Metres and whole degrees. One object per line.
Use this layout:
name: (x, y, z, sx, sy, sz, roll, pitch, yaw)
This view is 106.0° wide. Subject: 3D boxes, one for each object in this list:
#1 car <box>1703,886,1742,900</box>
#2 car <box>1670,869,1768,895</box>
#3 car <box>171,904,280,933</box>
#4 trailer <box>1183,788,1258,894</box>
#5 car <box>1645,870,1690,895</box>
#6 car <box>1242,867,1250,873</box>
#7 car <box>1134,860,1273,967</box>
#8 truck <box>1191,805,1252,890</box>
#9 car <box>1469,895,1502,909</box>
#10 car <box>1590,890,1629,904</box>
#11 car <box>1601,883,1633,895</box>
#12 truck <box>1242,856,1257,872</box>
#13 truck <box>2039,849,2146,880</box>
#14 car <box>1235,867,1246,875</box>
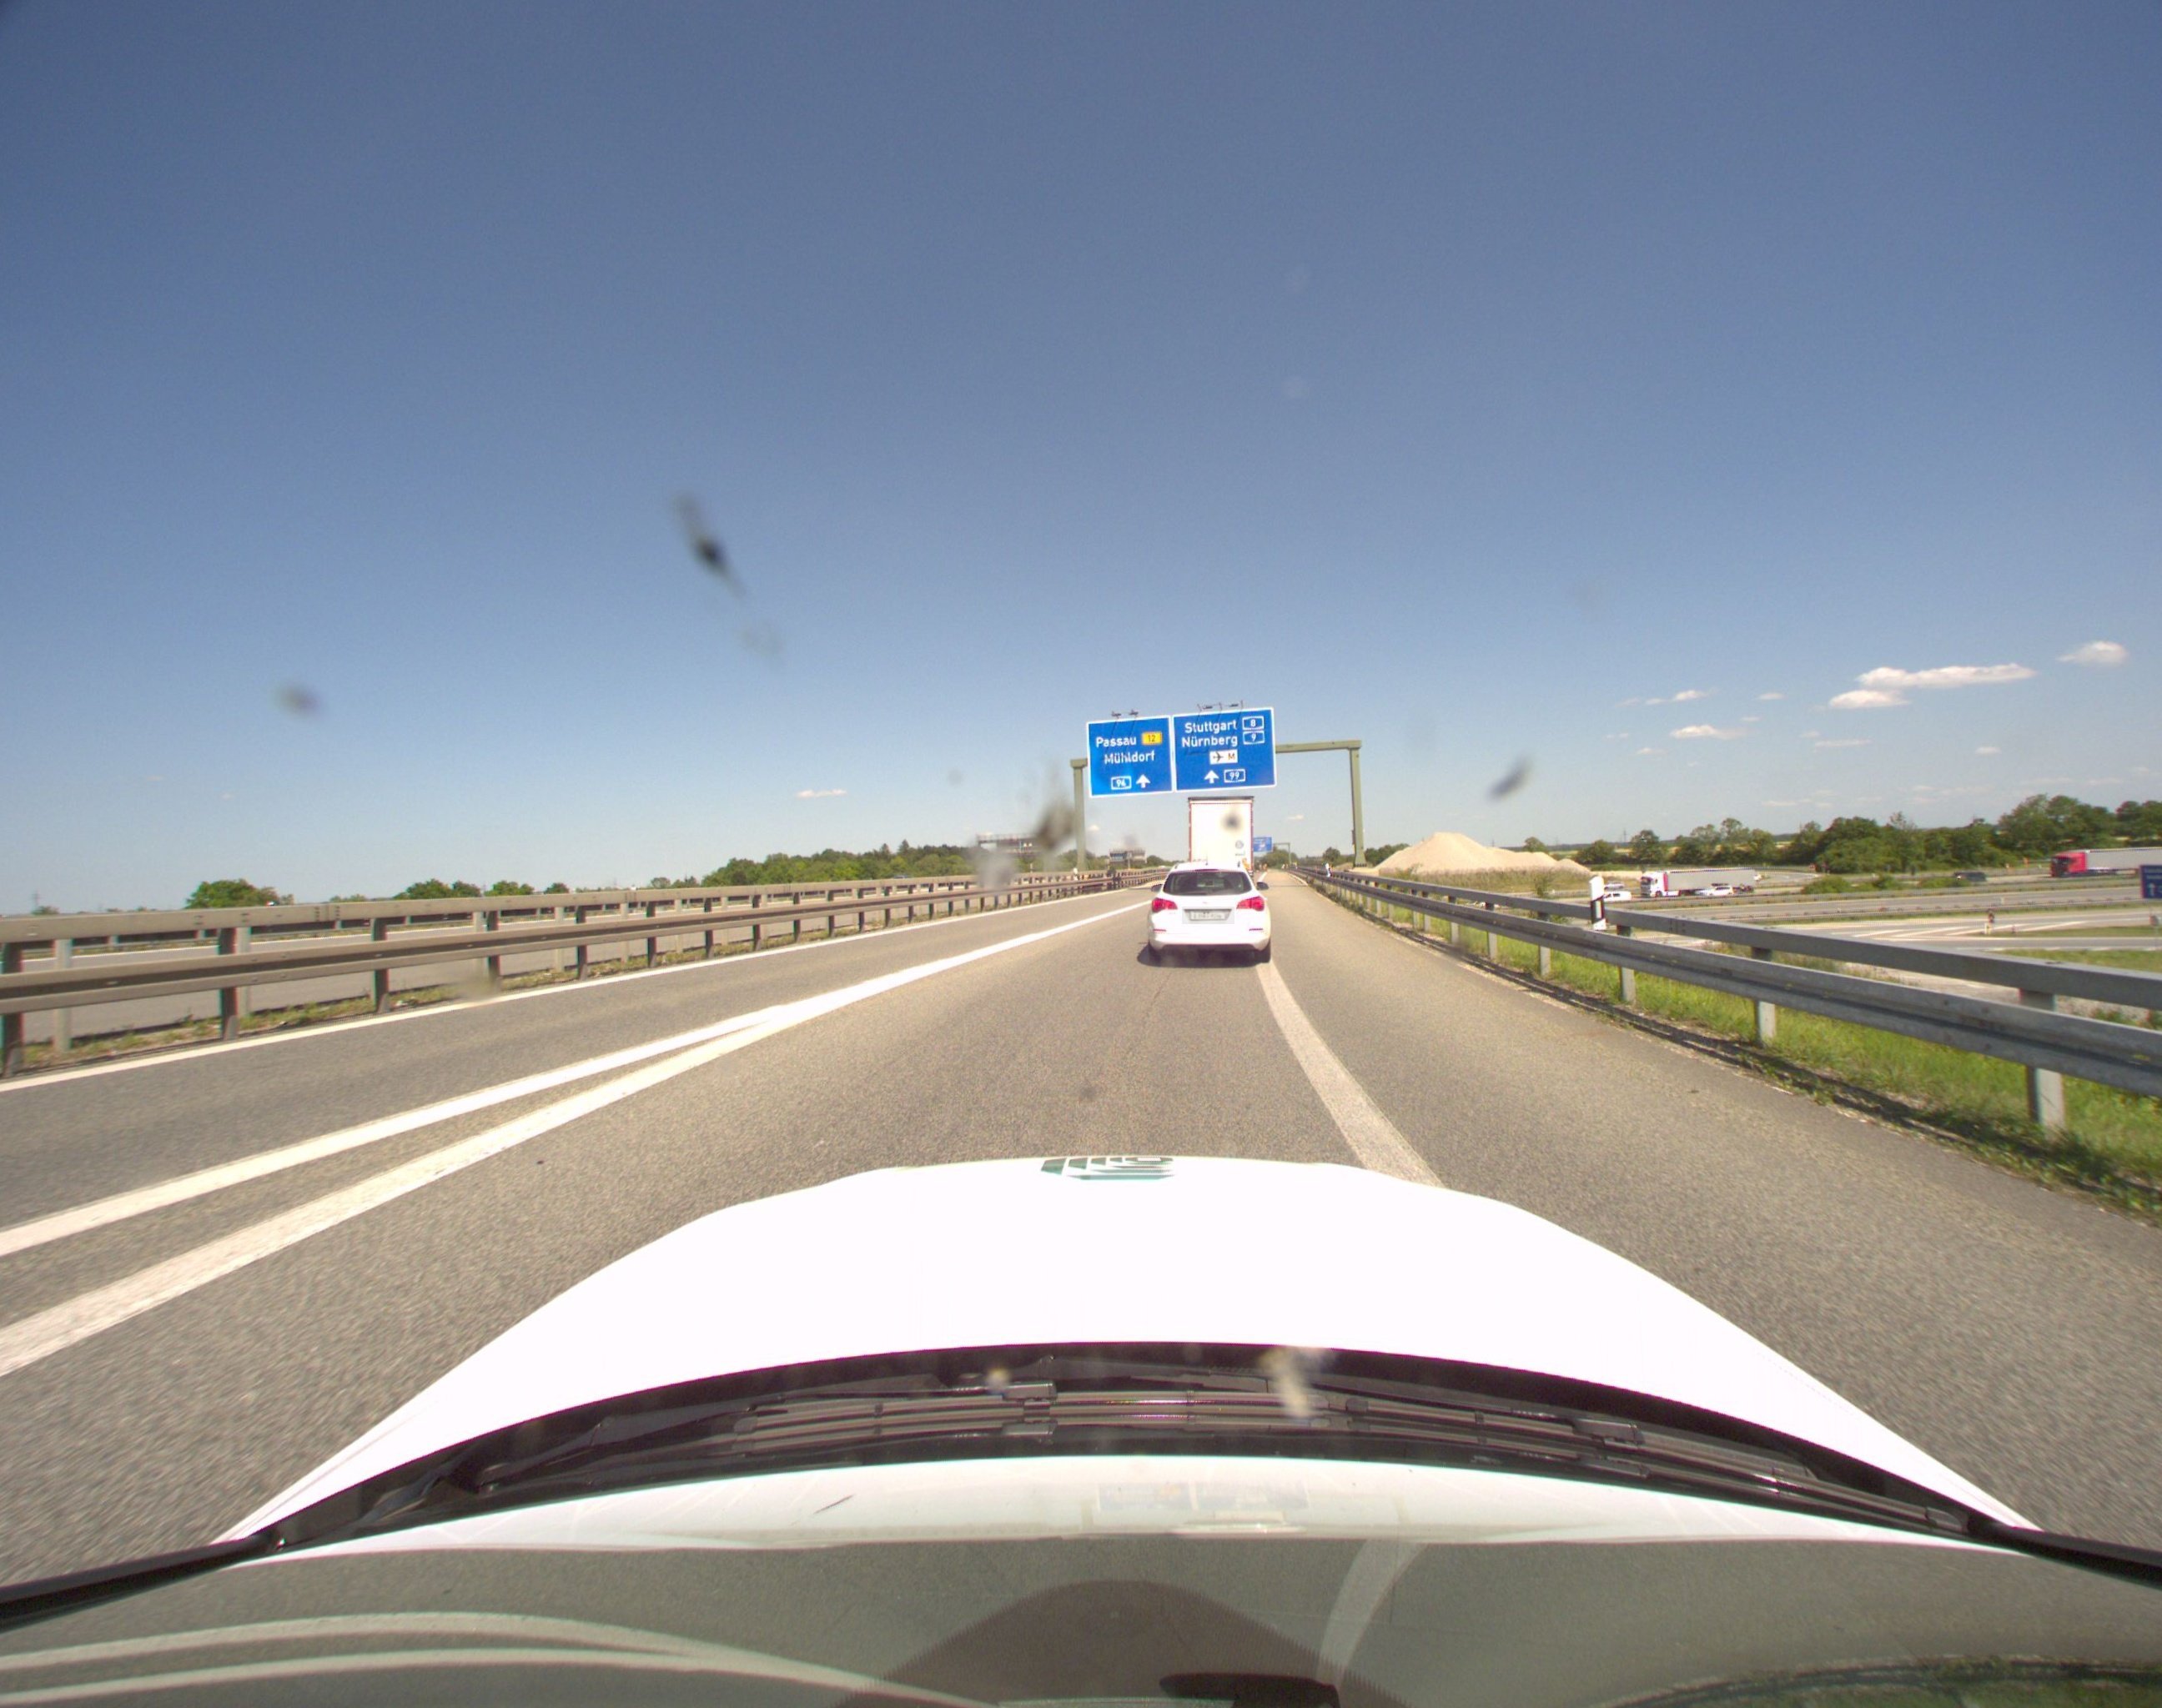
car: (97.161, 5.909, 123.386, 4.376, 2.014, 2.001, 0, -1, 3)
car: (98.812, 4.381, 126.250, 12.916, 3.964, 2.484, 0, -1, 3)
car: (-45.587, 3.420, 43.484, 1.612, 1.357, 3.629, -3, -4, 14)
trailer: (6.540, -0.325, 37.805, 2.894, 4.146, 11.288, -1, -2, 10)
car: (91.065, 4.416, 126.578, 5.121, 3.964, 2.485, 0, -1, 3)
car: (39.571, 3.751, 195.423, 1.642, 1.380, 4.014, 1, -1, 14)
car: (2.050, 0.845, 13.221, 1.842, 1.443, 4.384, -1, -1, 10)
truck: (7.680, -0.209, 43.883, 2.893, 4.146, 6.947, -1, -2, 12)
car: (58.880, 6.967, 118.660, 3.967, 2.014, 1.806, 0, -1, 5)
car: (77.261, 6.277, 119.139, 4.376, 2.014, 2.001, 0, -1, 3)
car: (96.270, 6.281, 146.328, 4.376, 2.014, 2.001, 0, -1, 3)
truck: (45.521, 2.678, 219.694, 3.515, 4.146, 11.295, 1, -1, 13)
truck: (157.063, 1.584, 126.517, 12.489, 4.065, 2.871, -3, -1, 1)
car: (28.847, 3.099, 147.180, 1.642, 1.380, 4.014, 1, -1, 14)
